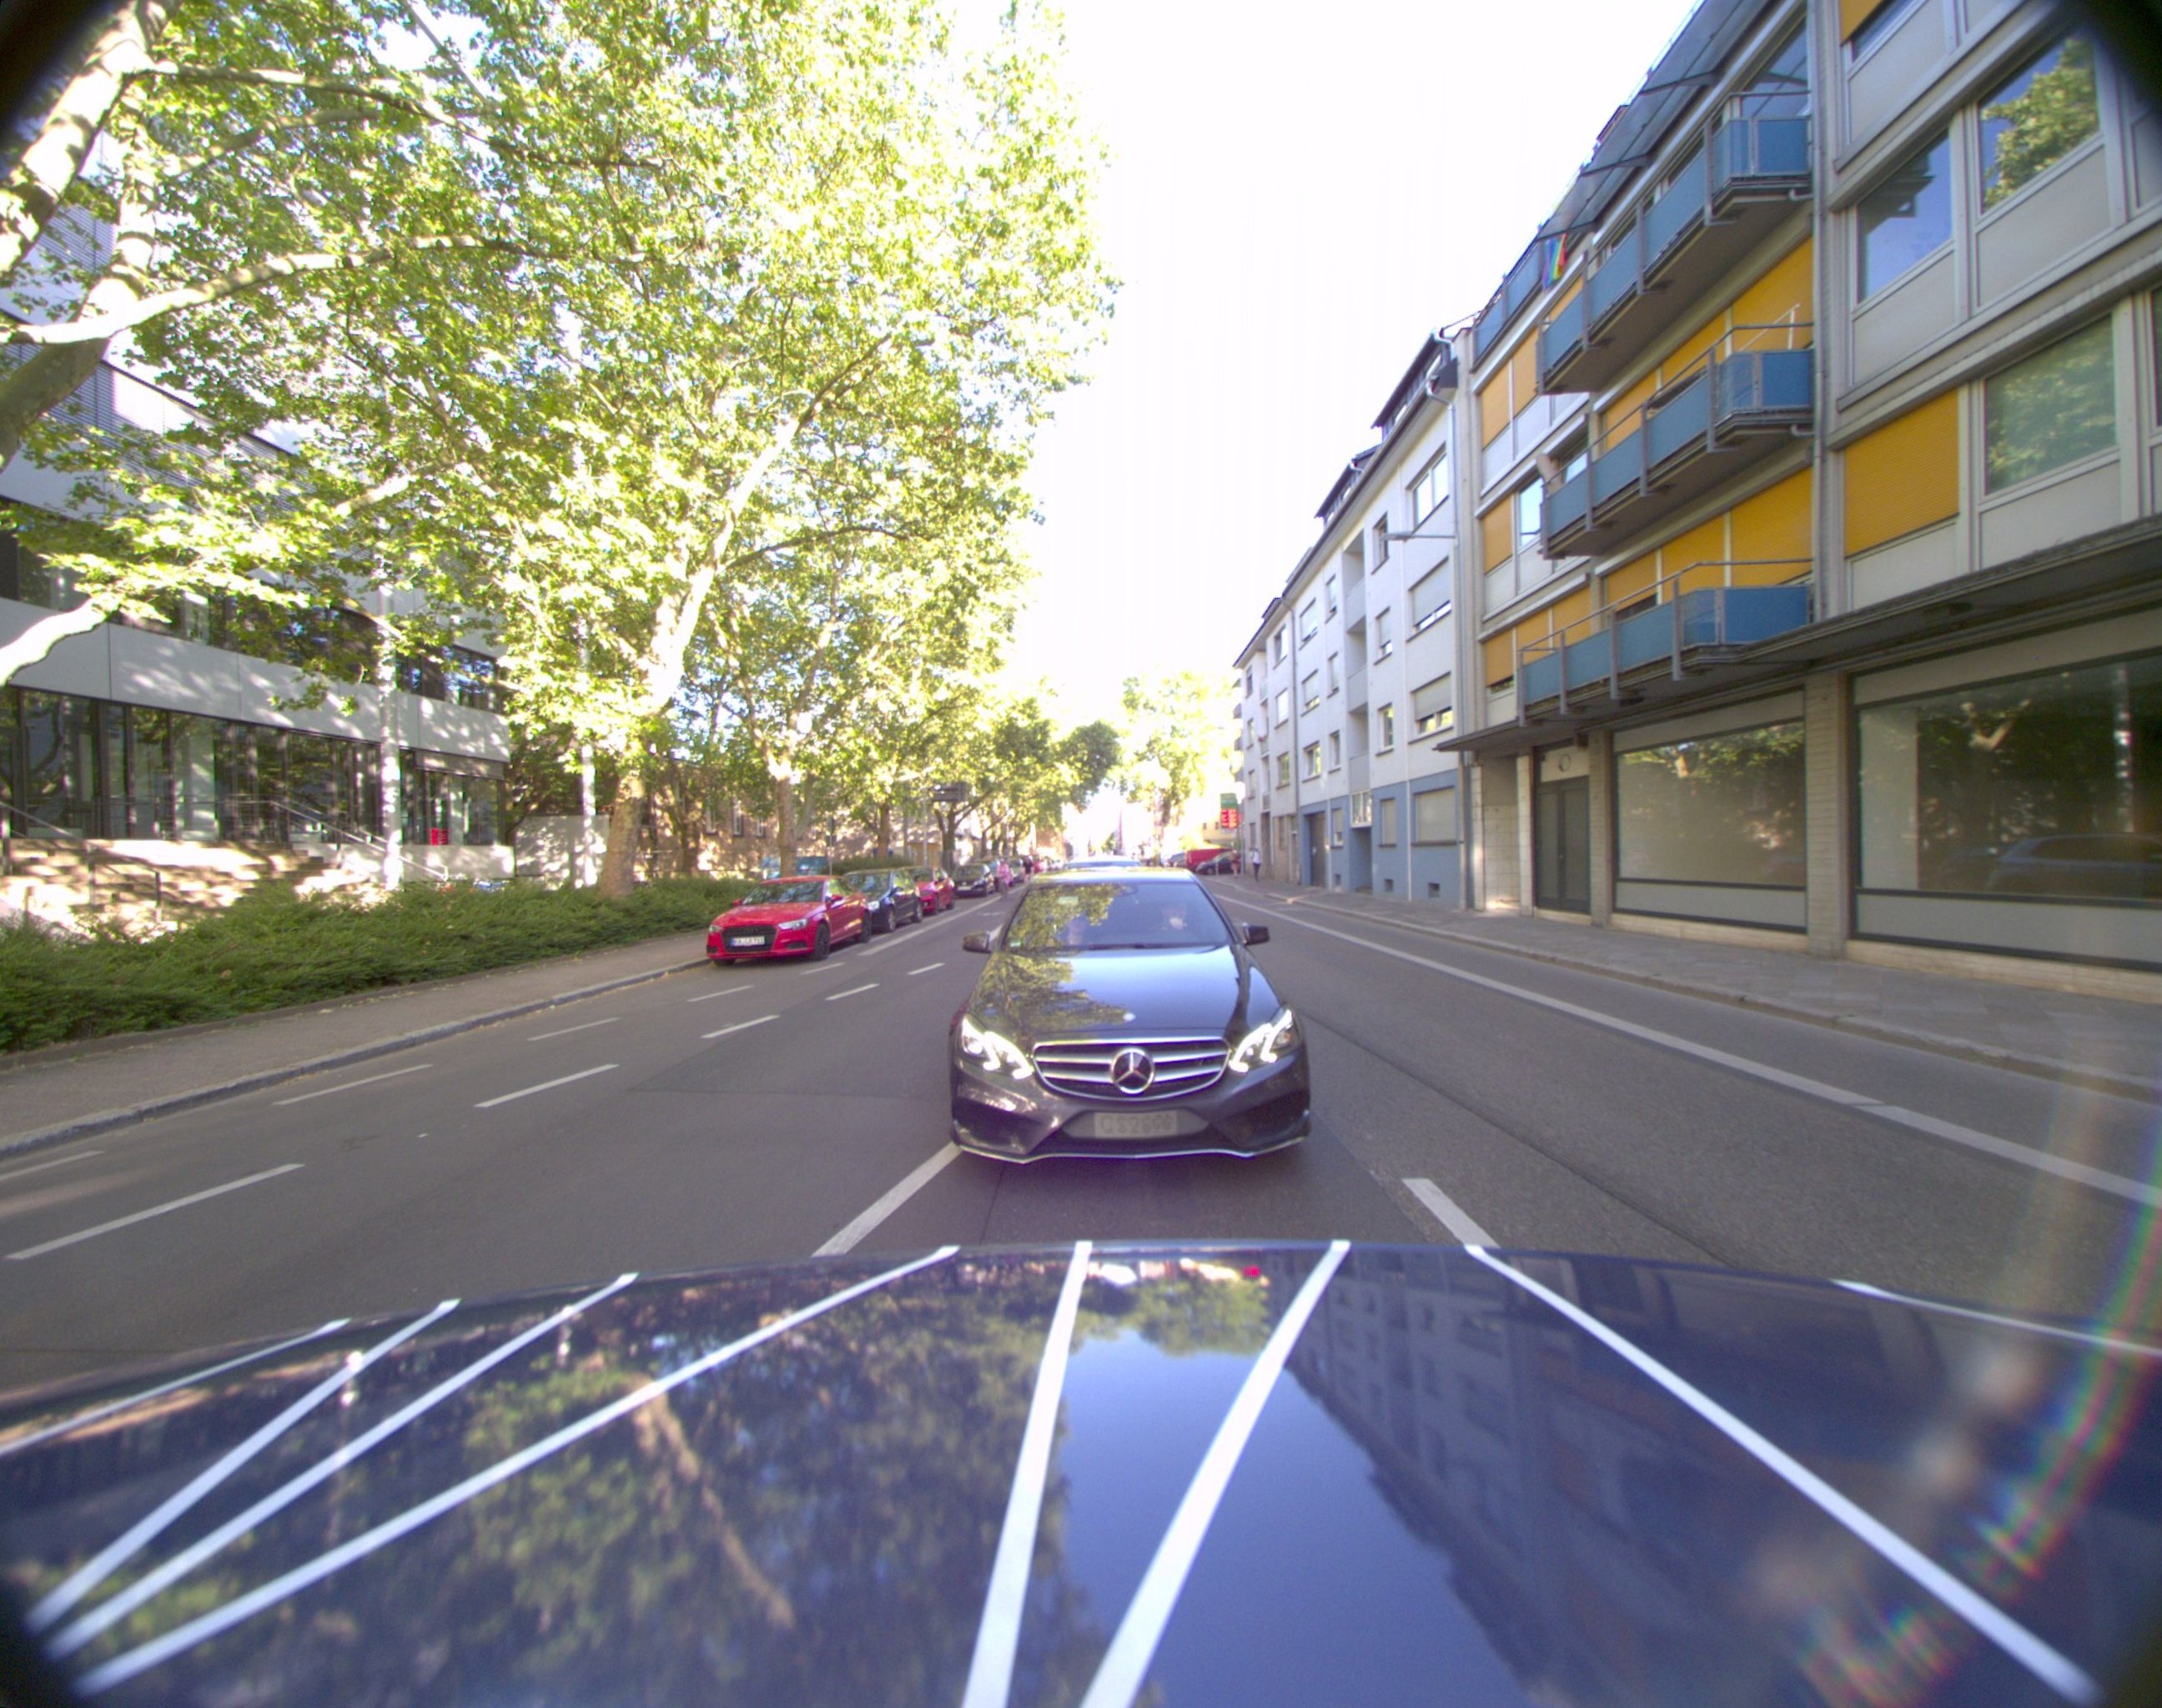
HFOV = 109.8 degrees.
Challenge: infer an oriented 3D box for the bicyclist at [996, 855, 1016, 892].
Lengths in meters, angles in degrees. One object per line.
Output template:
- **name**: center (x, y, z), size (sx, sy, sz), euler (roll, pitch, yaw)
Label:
- **bicyclist**: center (-2.941, 0.758, 29.766), size (0.650, 1.427, 0.741), euler (-2, 1, 1)

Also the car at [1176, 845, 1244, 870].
- **car**: center (10.635, 0.289, 63.097), size (5.223, 1.969, 2.257), euler (-2, 0, 1)

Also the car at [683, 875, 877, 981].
- **car**: center (-5.126, 1.184, 13.589), size (1.755, 1.400, 4.000), euler (-3, 0, 1)

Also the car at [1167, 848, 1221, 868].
- **car**: center (11.271, 0.399, 76.213), size (5.054, 1.926, 2.161), euler (-2, 0, 1)

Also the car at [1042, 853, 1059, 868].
- **car**: center (-3.648, 0.770, 92.996), size (1.755, 1.652, 4.447), euler (-3, 0, 1)

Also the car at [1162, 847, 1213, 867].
- **car**: center (11.321, 0.342, 81.176), size (5.042, 1.926, 2.315), euler (-2, 0, 1)

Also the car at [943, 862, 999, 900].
- **car**: center (-4.751, 1.118, 33.285), size (1.755, 1.424, 3.909), euler (-3, 0, 1)

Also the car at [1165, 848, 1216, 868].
- **car**: center (11.286, 0.367, 78.711), size (4.991, 1.926, 2.083), euler (-2, 0, 1)

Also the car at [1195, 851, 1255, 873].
- **car**: center (10.355, 0.558, 54.772), size (3.997, 1.412, 1.743), euler (-2, 0, 1)

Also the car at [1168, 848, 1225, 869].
- **car**: center (11.098, 0.438, 73.513), size (5.143, 1.926, 2.187), euler (-2, 0, 1)

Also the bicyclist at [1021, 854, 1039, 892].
- **bicyclist**: center (-1.963, 0.722, 29.126), size (0.581, 1.424, 0.741), euler (-2, 1, 1)

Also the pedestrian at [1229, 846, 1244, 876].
- **pedestrian**: center (8.661, 0.388, 42.382), size (0.604, 1.632, 0.842), euler (-2, 1, 1)

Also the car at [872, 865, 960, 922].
- **car**: center (-5.036, 1.147, 23.647), size (1.755, 1.459, 3.909), euler (-3, 0, 1)

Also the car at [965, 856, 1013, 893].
- **car**: center (-4.564, 0.976, 38.255), size (1.755, 1.644, 4.174), euler (-3, 0, 1)

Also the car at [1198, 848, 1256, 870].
- **car**: center (10.911, 0.387, 56.982), size (3.997, 1.552, 1.743), euler (-2, 0, 1)

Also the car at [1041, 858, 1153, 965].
- **car**: center (0.269, 0.887, 13.601), size (1.667, 1.563, 4.000), euler (-1, 0, 1)

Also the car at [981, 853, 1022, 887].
- **car**: center (-4.554, 0.870, 44.054), size (1.755, 1.810, 4.447), euler (-3, 0, 1)

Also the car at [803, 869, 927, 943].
- **car**: center (-5.086, 1.174, 18.435), size (1.755, 1.424, 3.909), euler (-3, 0, 1)

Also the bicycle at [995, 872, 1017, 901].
- **bicycle**: center (-2.937, 1.257, 29.779), size (0.650, 1.053, 1.595), euler (-2, 0, 1)

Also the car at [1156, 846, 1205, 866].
- **car**: center (11.189, 0.195, 85.512), size (5.143, 2.135, 2.187), euler (-2, 0, 1)

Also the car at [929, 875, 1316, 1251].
- **car**: center (0.210, 0.984, 5.349), size (1.667, 1.499, 4.000), euler (-1, 0, 1)

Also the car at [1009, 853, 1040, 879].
- **car**: center (-4.103, 0.821, 55.747), size (1.755, 1.753, 4.447), euler (-3, 0, 1)

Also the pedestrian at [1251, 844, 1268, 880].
- **pedestrian**: center (8.863, 0.406, 37.802), size (0.608, 1.737, 0.756), euler (-2, 1, 1)

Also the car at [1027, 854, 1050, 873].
- **car**: center (-4.004, 0.901, 72.167), size (1.755, 1.652, 4.447), euler (-3, 0, 1)

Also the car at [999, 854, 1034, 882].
- **car**: center (-4.274, 0.879, 50.936), size (1.755, 1.718, 4.447), euler (-3, 0, 1)

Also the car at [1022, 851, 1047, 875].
- **car**: center (-3.998, 0.727, 66.381), size (1.755, 1.941, 4.447), euler (-3, 0, 1)

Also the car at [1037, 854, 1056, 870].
- **car**: center (-3.777, 0.867, 83.506), size (1.755, 1.652, 4.447), euler (-3, 0, 1)

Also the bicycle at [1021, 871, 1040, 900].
- **bicycle**: center (-1.941, 1.194, 29.316), size (0.574, 1.053, 1.595), euler (-2, 0, 1)

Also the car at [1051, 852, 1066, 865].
- **car**: center (-3.016, 0.646, 103.194), size (1.755, 1.652, 4.447), euler (-3, 0, 1)

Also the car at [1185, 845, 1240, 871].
- **car**: center (10.330, 0.296, 60.072), size (3.997, 1.926, 1.867), euler (-2, 0, 1)
